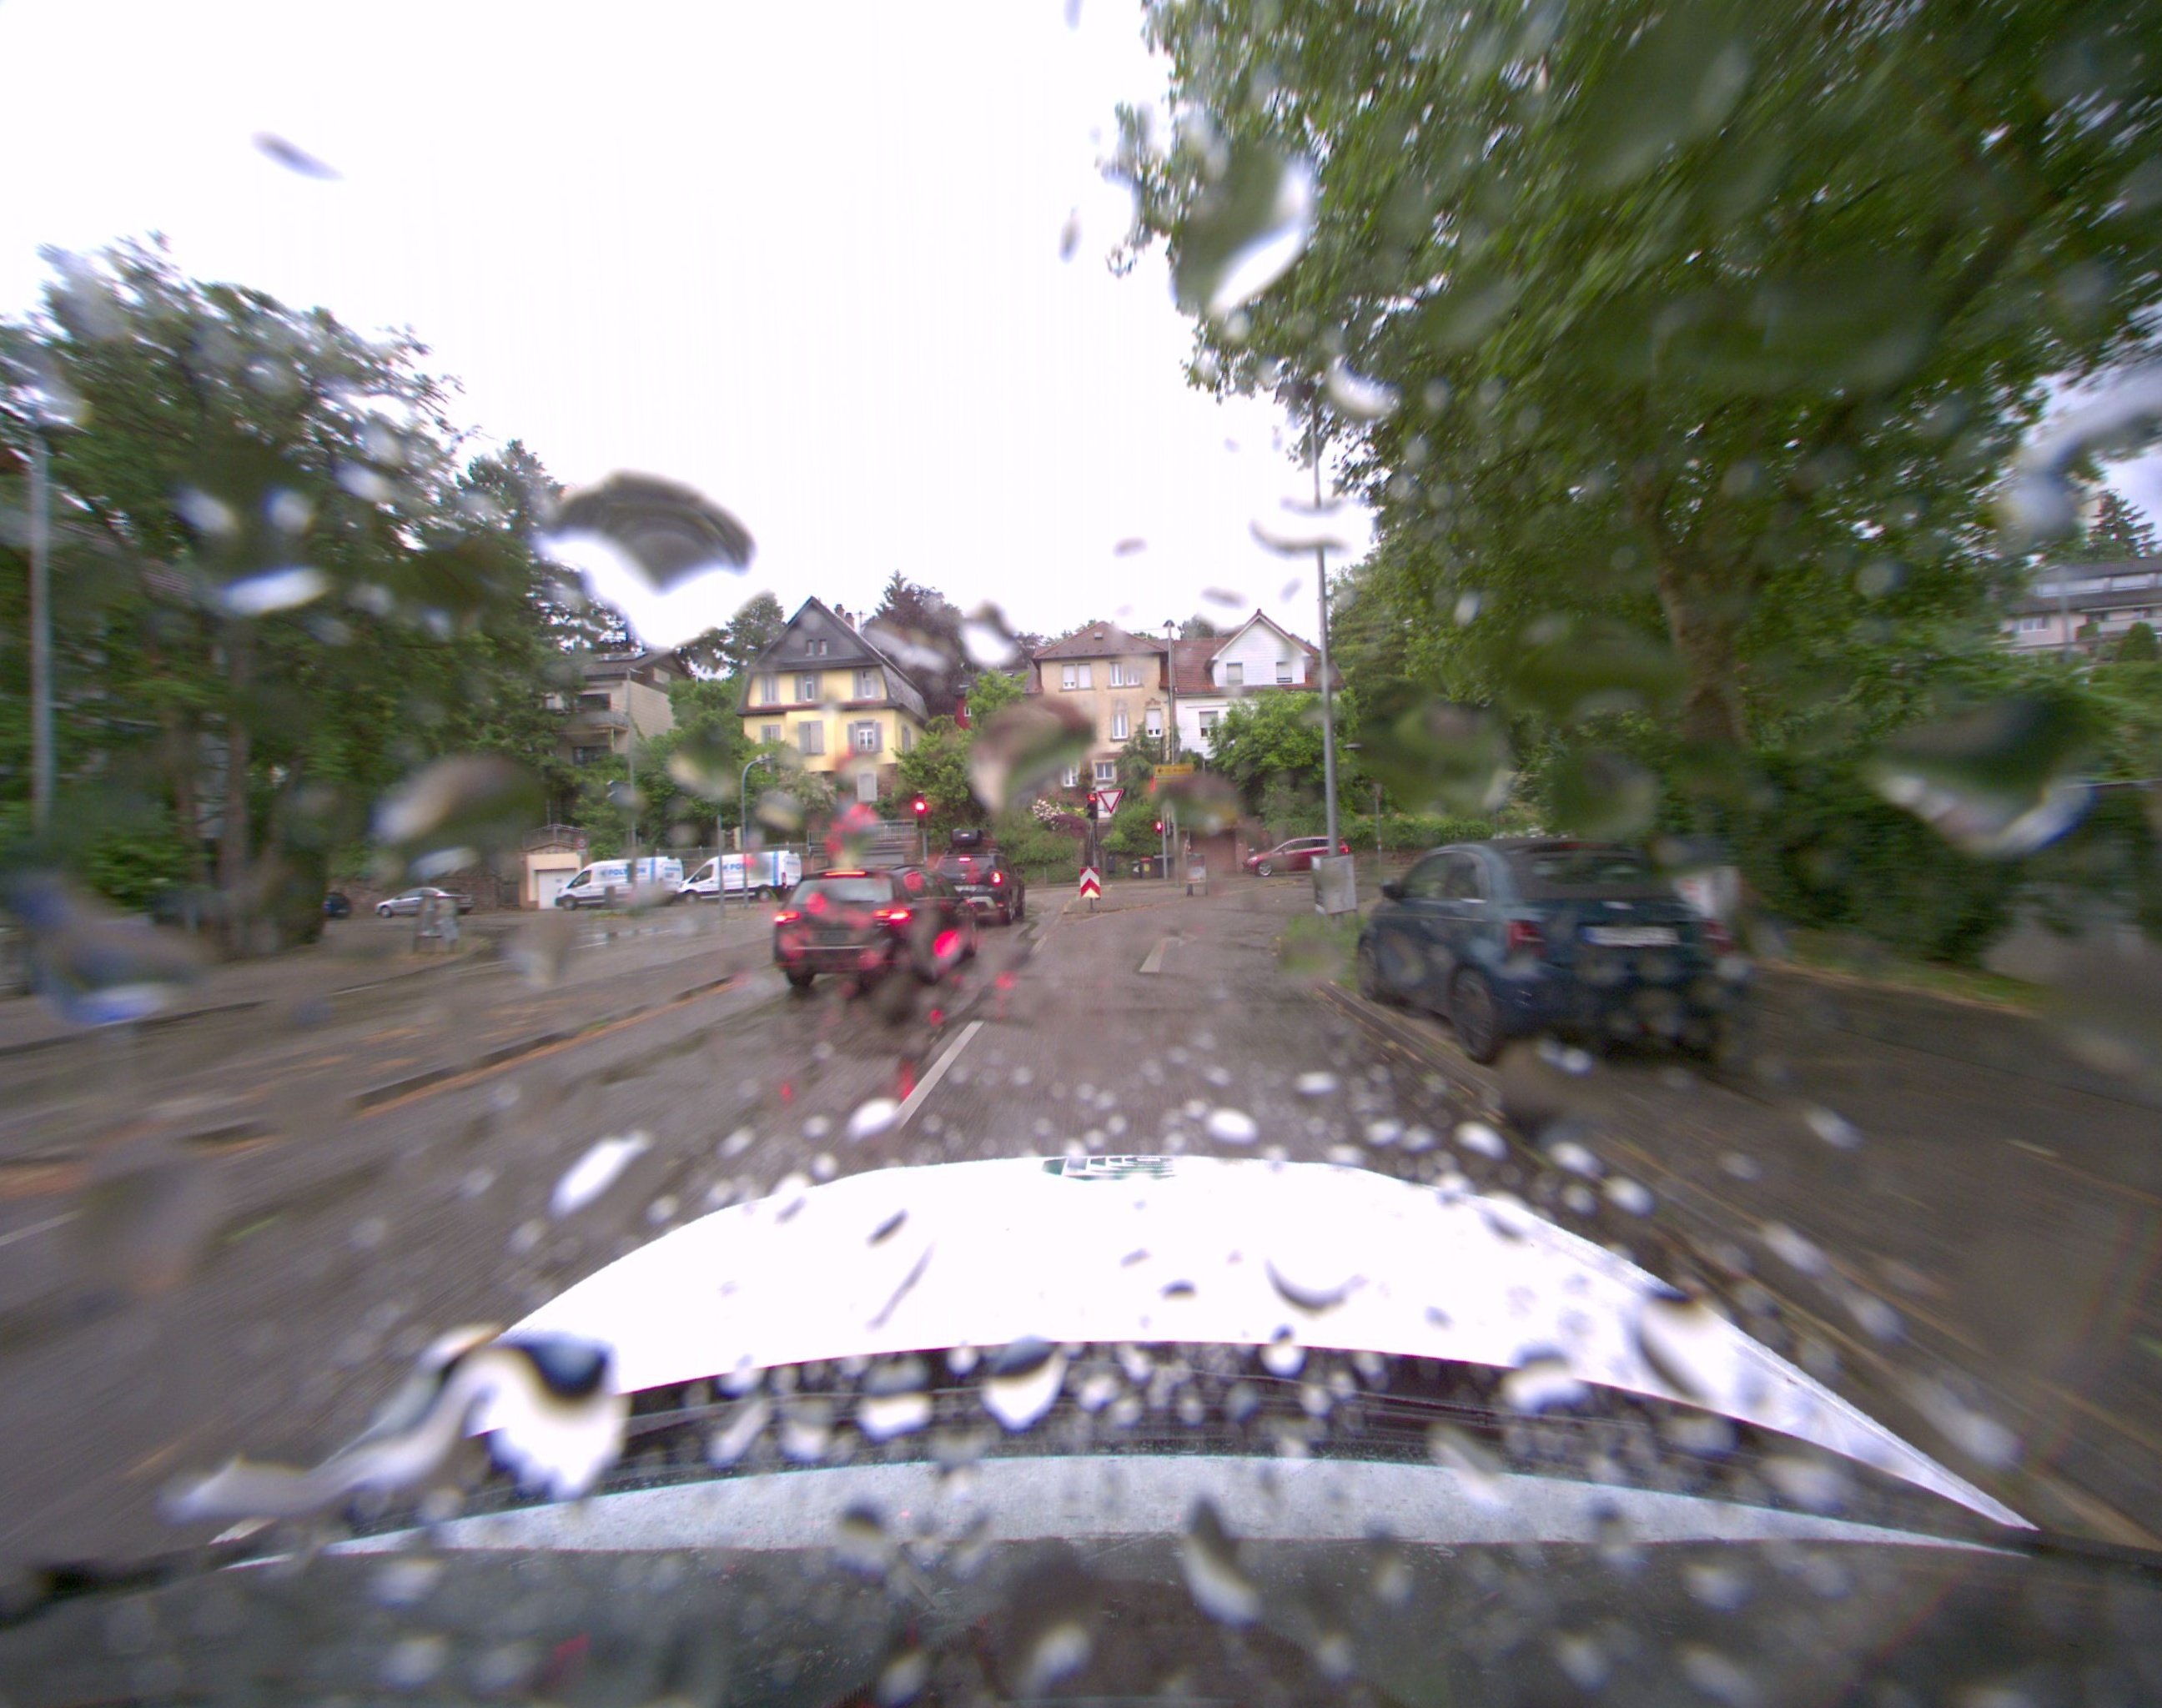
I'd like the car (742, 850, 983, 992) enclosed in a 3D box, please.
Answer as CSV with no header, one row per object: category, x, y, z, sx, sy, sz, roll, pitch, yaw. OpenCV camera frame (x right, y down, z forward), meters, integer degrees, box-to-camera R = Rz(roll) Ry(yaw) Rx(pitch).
car,-2.600,0.701,10.973,1.824,1.456,4.661,0,1,2

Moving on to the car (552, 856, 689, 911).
car,-22.885,1.457,40.622,5.538,2.494,2.318,-2,-2,4

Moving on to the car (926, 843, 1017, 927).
car,-2.453,0.610,19.248,1.757,1.711,4.595,-1,1,-4

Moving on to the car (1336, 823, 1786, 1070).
car,3.473,0.564,6.748,1.742,1.492,3.602,0,0,3

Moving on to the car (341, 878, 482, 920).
car,-33.877,2.261,41.284,5.538,1.854,2.112,-2,-2,4

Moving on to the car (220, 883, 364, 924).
car,-40.403,2.511,41.780,5.538,1.854,2.112,-2,-2,4

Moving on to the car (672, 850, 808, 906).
car,-16.714,1.177,40.124,5.635,2.494,2.318,-2,-2,4

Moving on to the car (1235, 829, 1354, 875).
car,9.005,-0.057,34.599,4.548,1.601,1.776,-4,-2,3
